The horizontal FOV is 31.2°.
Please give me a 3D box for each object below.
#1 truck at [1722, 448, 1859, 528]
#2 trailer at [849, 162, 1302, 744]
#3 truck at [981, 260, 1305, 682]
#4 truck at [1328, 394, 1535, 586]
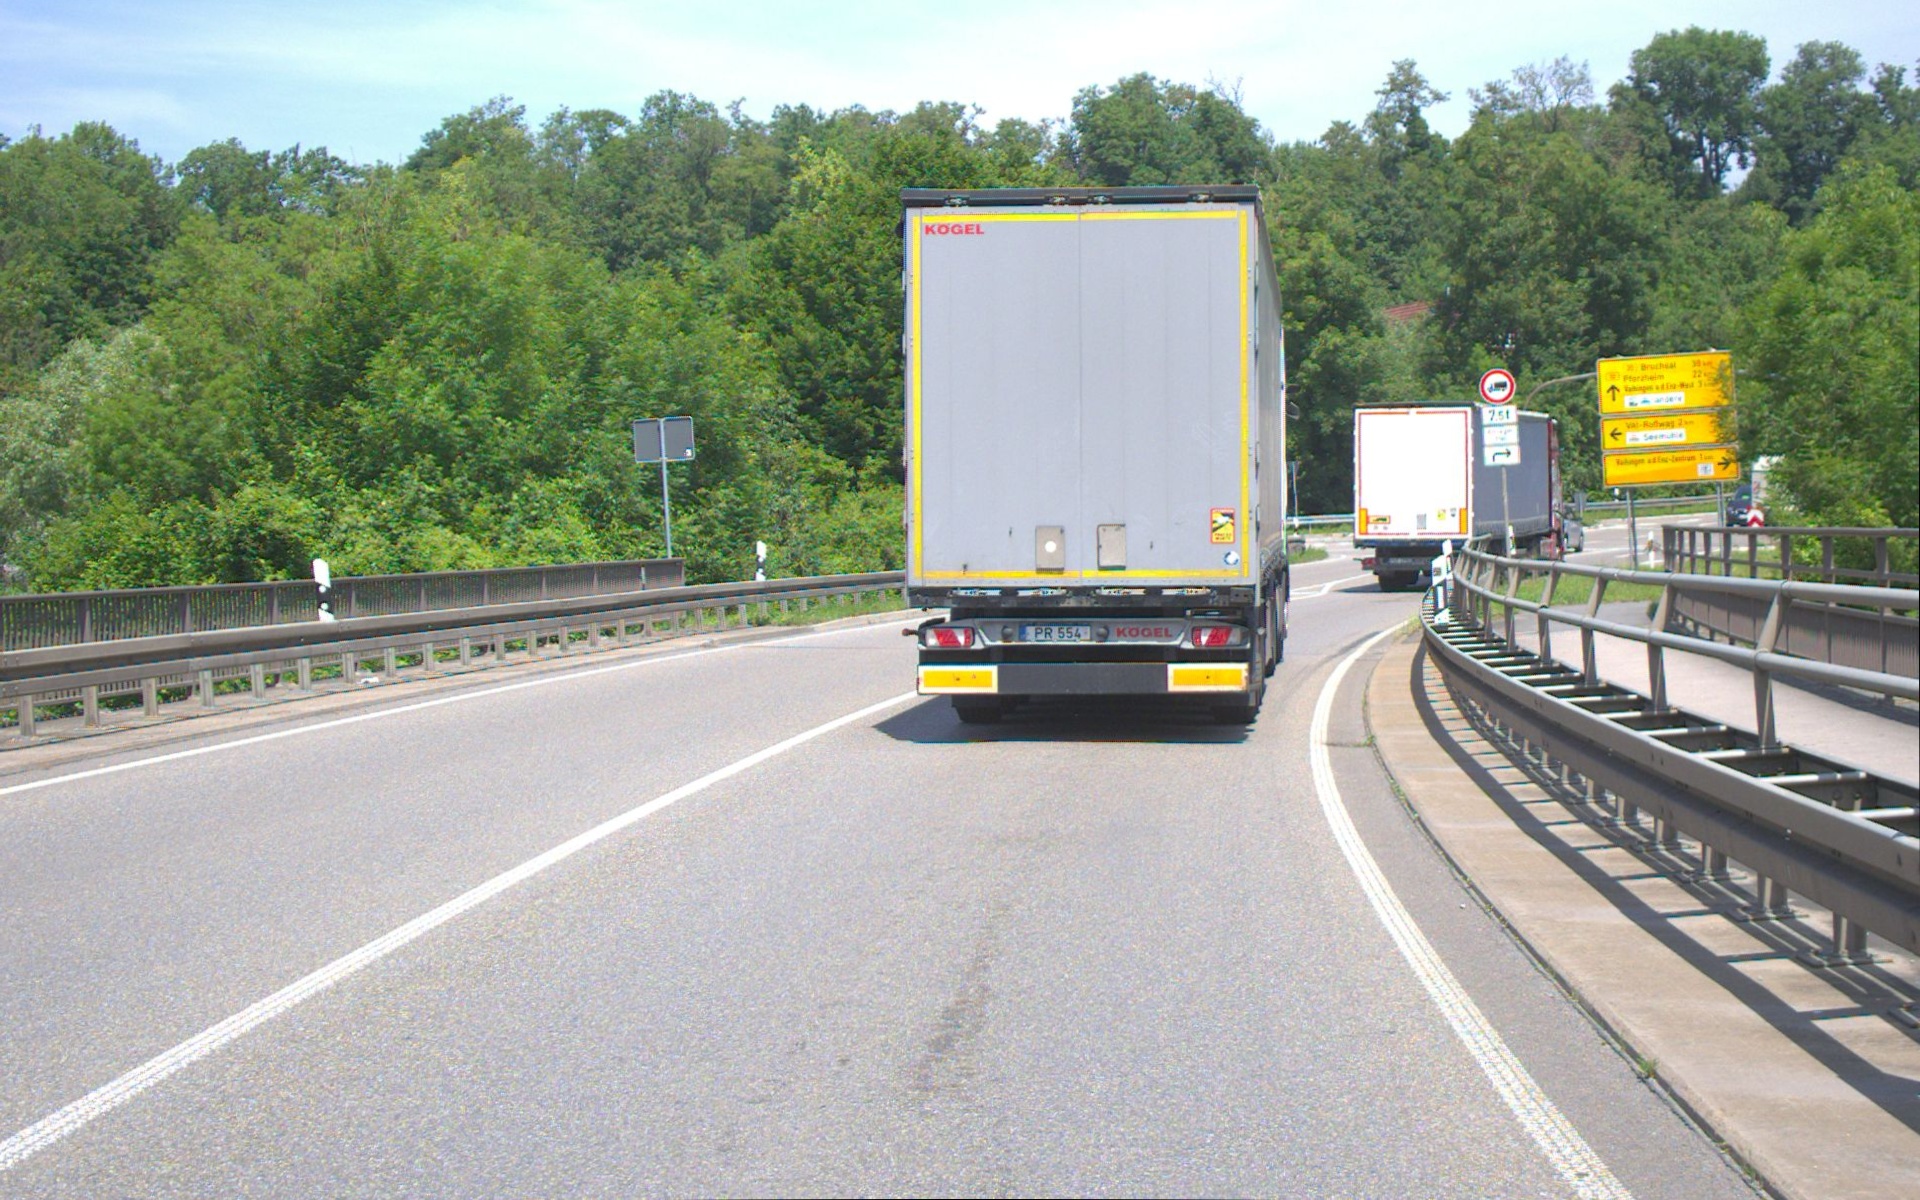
[{"bbox_3d":[31.428,-4.244,129.928,2.861,2.937,7.092,1,2,33],"label":"truck"},{"bbox_3d":[1.422,-1.158,30.288,3.052,4.020,12.556,-1,1,6],"label":"trailer"},{"bbox_3d":[2.087,-1.305,36.413,3.039,4.020,6.628,-1,1,6],"label":"truck"},{"bbox_3d":[10.874,-2.424,78.108,3.181,4.015,11.737,0,1,15],"label":"truck"}]
